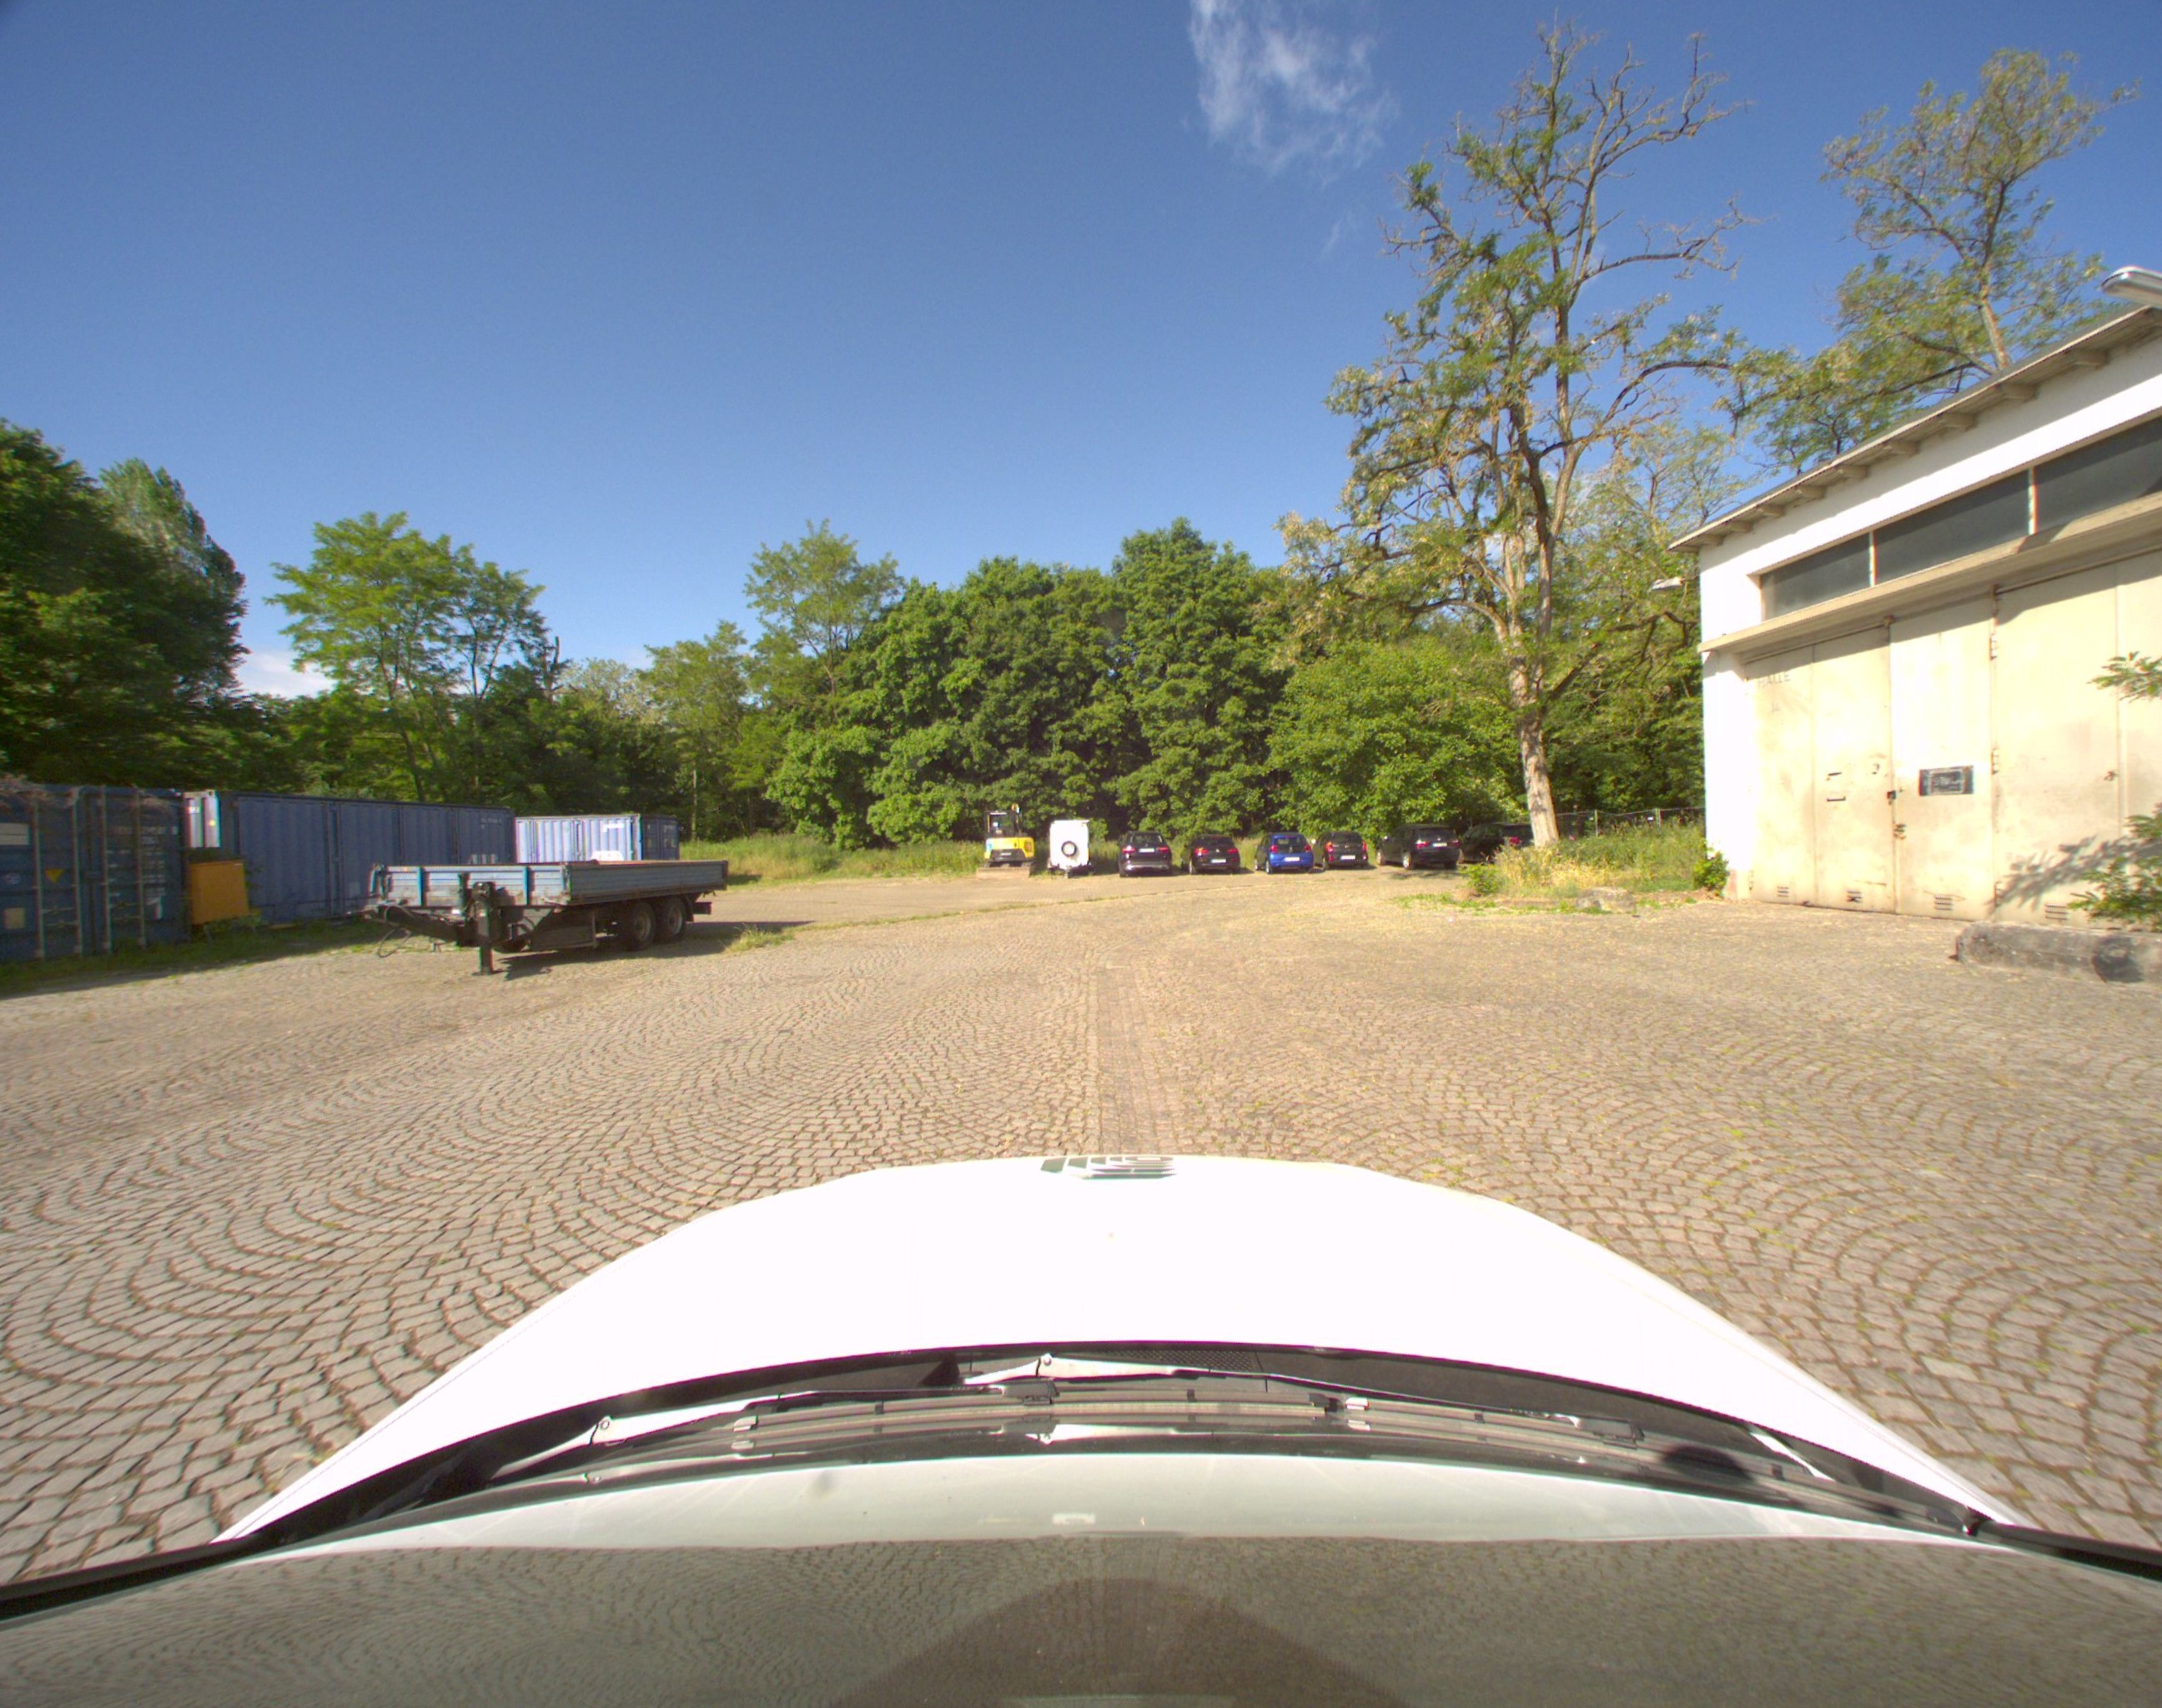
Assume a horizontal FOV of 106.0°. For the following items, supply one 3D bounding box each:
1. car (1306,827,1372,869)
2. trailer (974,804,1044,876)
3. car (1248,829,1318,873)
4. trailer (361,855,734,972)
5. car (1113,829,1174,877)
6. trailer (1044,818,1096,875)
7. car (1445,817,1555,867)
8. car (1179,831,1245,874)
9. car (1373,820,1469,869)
[{"bbox_3d":[9.854,-0.264,31.299,1.729,1.450,3.732,-1,2,6],"label":"car"},{"bbox_3d":[-2.719,-0.601,31.312,2.250,2.537,2.853,-1,4,2],"label":"trailer"},{"bbox_3d":[7.399,-0.166,30.224,1.773,1.458,3.792,-1,2,2],"label":"car"},{"bbox_3d":[-7.924,0.767,12.950,2.631,1.414,4.863,-1,0,1],"label":"trailer"},{"bbox_3d":[2.210,-0.109,29.865,1.957,1.589,4.133,-1,2,1],"label":"car"},{"bbox_3d":[-0.372,-0.334,31.116,1.811,2.050,2.852,-1,2,2],"label":"trailer"},{"bbox_3d":[15.857,-0.517,31.070,1.820,1.588,4.269,-2,4,-4],"label":"car"},{"bbox_3d":[4.777,-0.103,30.169,1.882,1.411,3.791,-1,2,1],"label":"car"},{"bbox_3d":[12.749,-0.425,30.868,1.868,1.630,4.274,-1,3,0],"label":"car"}]
